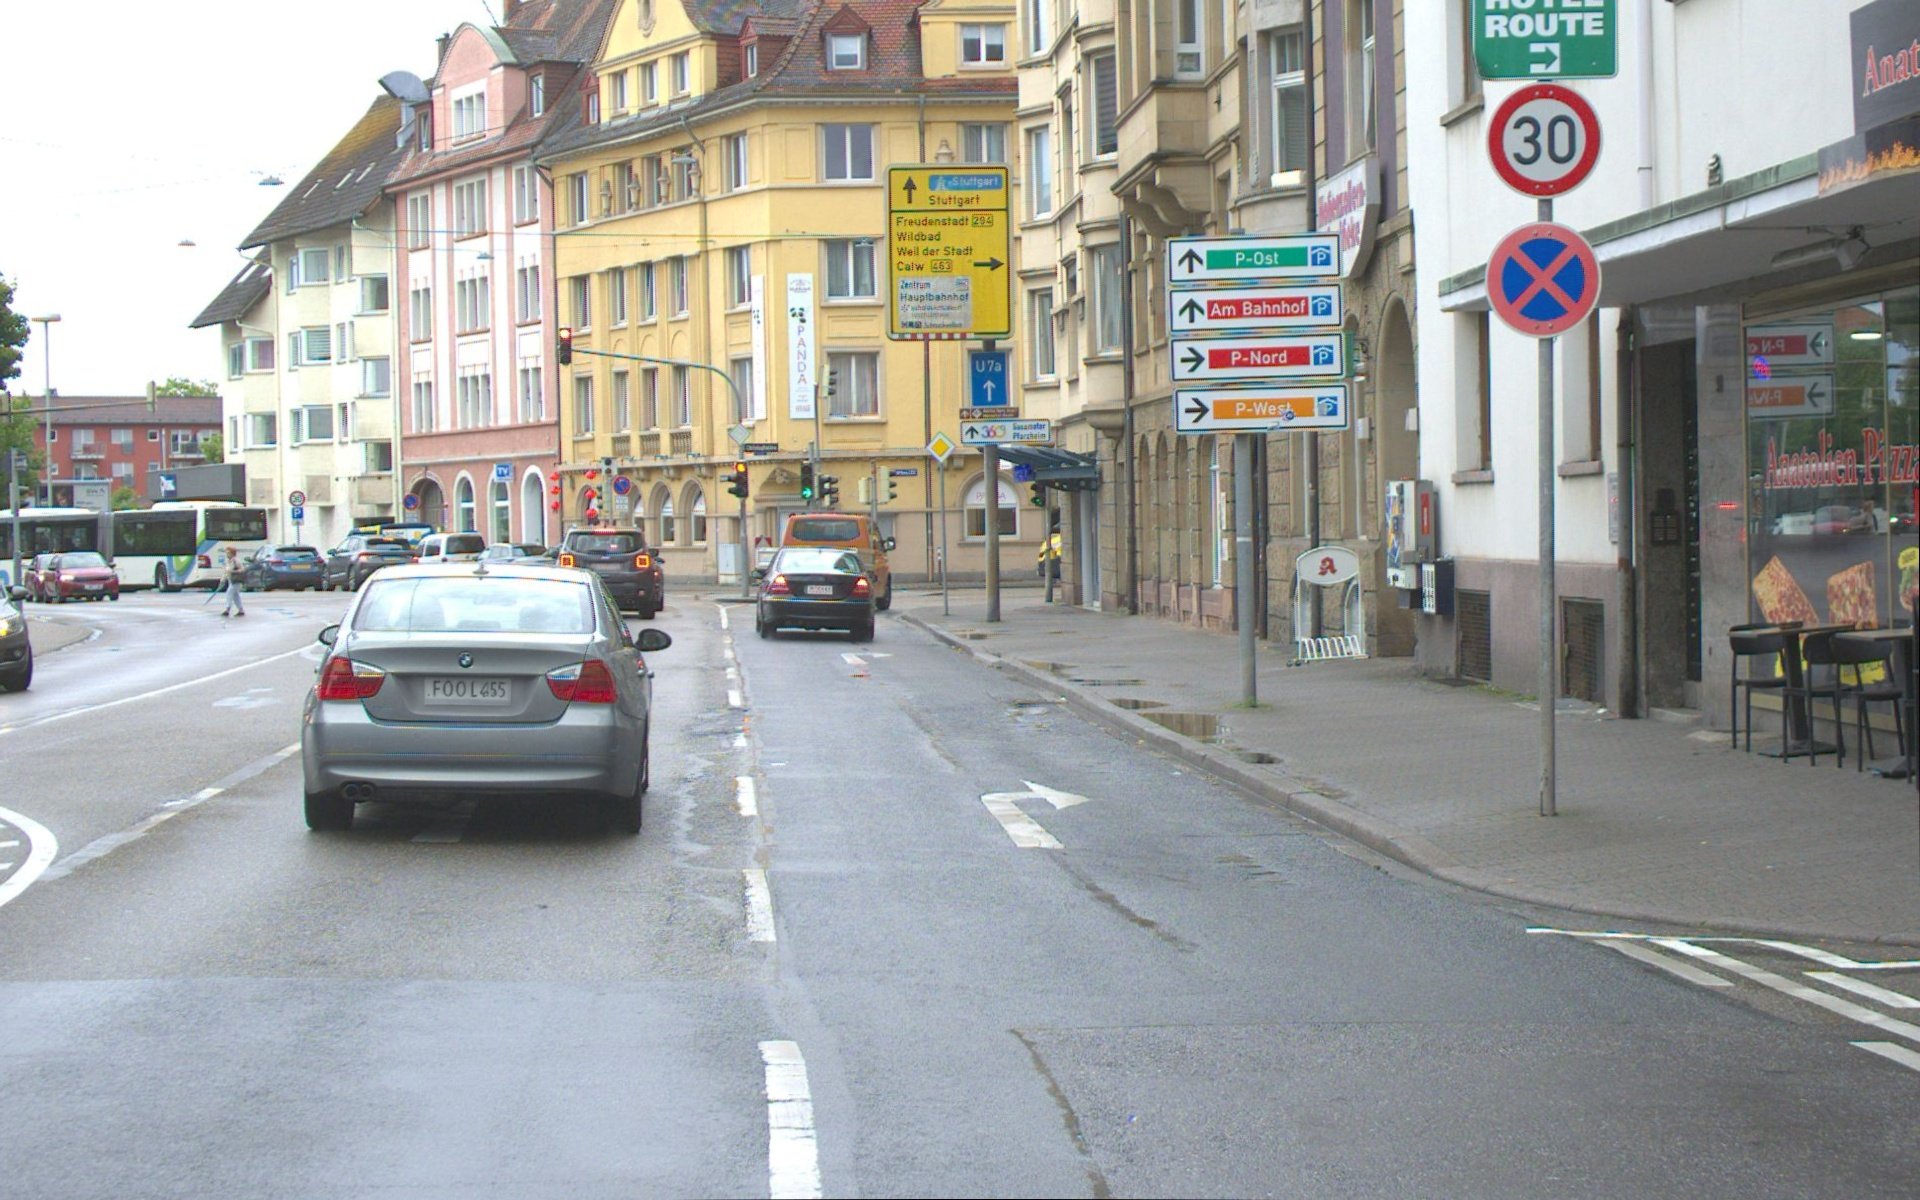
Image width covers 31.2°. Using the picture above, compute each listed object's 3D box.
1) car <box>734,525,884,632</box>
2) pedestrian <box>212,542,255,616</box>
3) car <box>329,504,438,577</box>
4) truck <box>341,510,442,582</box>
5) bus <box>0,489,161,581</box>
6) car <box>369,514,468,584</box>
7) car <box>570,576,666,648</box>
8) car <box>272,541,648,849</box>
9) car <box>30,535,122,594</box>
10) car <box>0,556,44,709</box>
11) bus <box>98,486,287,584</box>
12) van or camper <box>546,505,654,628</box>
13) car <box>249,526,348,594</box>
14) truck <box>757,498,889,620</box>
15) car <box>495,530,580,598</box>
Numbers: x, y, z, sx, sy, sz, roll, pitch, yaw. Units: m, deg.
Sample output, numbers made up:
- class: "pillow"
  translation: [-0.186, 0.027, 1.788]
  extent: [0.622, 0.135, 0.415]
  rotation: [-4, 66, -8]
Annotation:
- class: "car"
  translation: [-2.337, -0.321, 52.321]
  extent: [1.799, 1.558, 4.001]
  rotation: [0, 0, -9]
- class: "pedestrian"
  translation: [-15.082, -0.439, 71.391]
  extent: [0.760, 1.524, 0.508]
  rotation: [1, 0, -25]
- class: "car"
  translation: [-16.260, -1.673, 96.799]
  extent: [1.993, 2.007, 4.001]
  rotation: [-1, 1, -25]
- class: "truck"
  translation: [-19.214, -1.841, 116.070]
  extent: [2.026, 2.381, 4.237]
  rotation: [0, 1, -29]
- class: "bus"
  translation: [-32.066, -2.257, 120.449]
  extent: [8.862, 3.094, 2.912]
  rotation: [0, 2, 38]
- class: "car"
  translation: [-17.388, -1.649, 110.293]
  extent: [1.761, 2.173, 4.000]
  rotation: [2, 0, -29]
- class: "car"
  translation: [-6.895, 0.224, 68.978]
  extent: [1.802, 1.401, 4.685]
  rotation: [0, 0, -7]
- class: "car"
  translation: [-2.647, 0.432, 19.025]
  extent: [1.799, 1.459, 4.372]
  rotation: [1, 1, -5]
- class: "car"
  translation: [-25.732, -1.040, 99.979]
  extent: [1.844, 1.678, 4.001]
  rotation: [-1, 1, -25]
- class: "car"
  translation: [-11.526, 0.342, 39.179]
  extent: [1.947, 1.653, 4.058]
  rotation: [-1, 1, -17]
- class: "bus"
  translation: [-25.634, -2.151, 114.456]
  extent: [2.909, 3.094, 9.142]
  rotation: [-2, 2, -34]
- class: "van or camper"
  translation: [-6.539, -0.624, 62.177]
  extent: [1.854, 2.139, 4.143]
  rotation: [0, 1, -7]
- class: "car"
  translation: [-20.092, -1.229, 104.273]
  extent: [1.993, 2.007, 4.001]
  rotation: [-1, 1, -25]
- class: "truck"
  translation: [-2.581, -0.799, 66.057]
  extent: [2.224, 2.242, 5.063]
  rotation: [0, 1, 1]
- class: "car"
  translation: [-11.645, -0.978, 94.610]
  extent: [1.993, 1.809, 4.001]
  rotation: [-1, 0, -12]
